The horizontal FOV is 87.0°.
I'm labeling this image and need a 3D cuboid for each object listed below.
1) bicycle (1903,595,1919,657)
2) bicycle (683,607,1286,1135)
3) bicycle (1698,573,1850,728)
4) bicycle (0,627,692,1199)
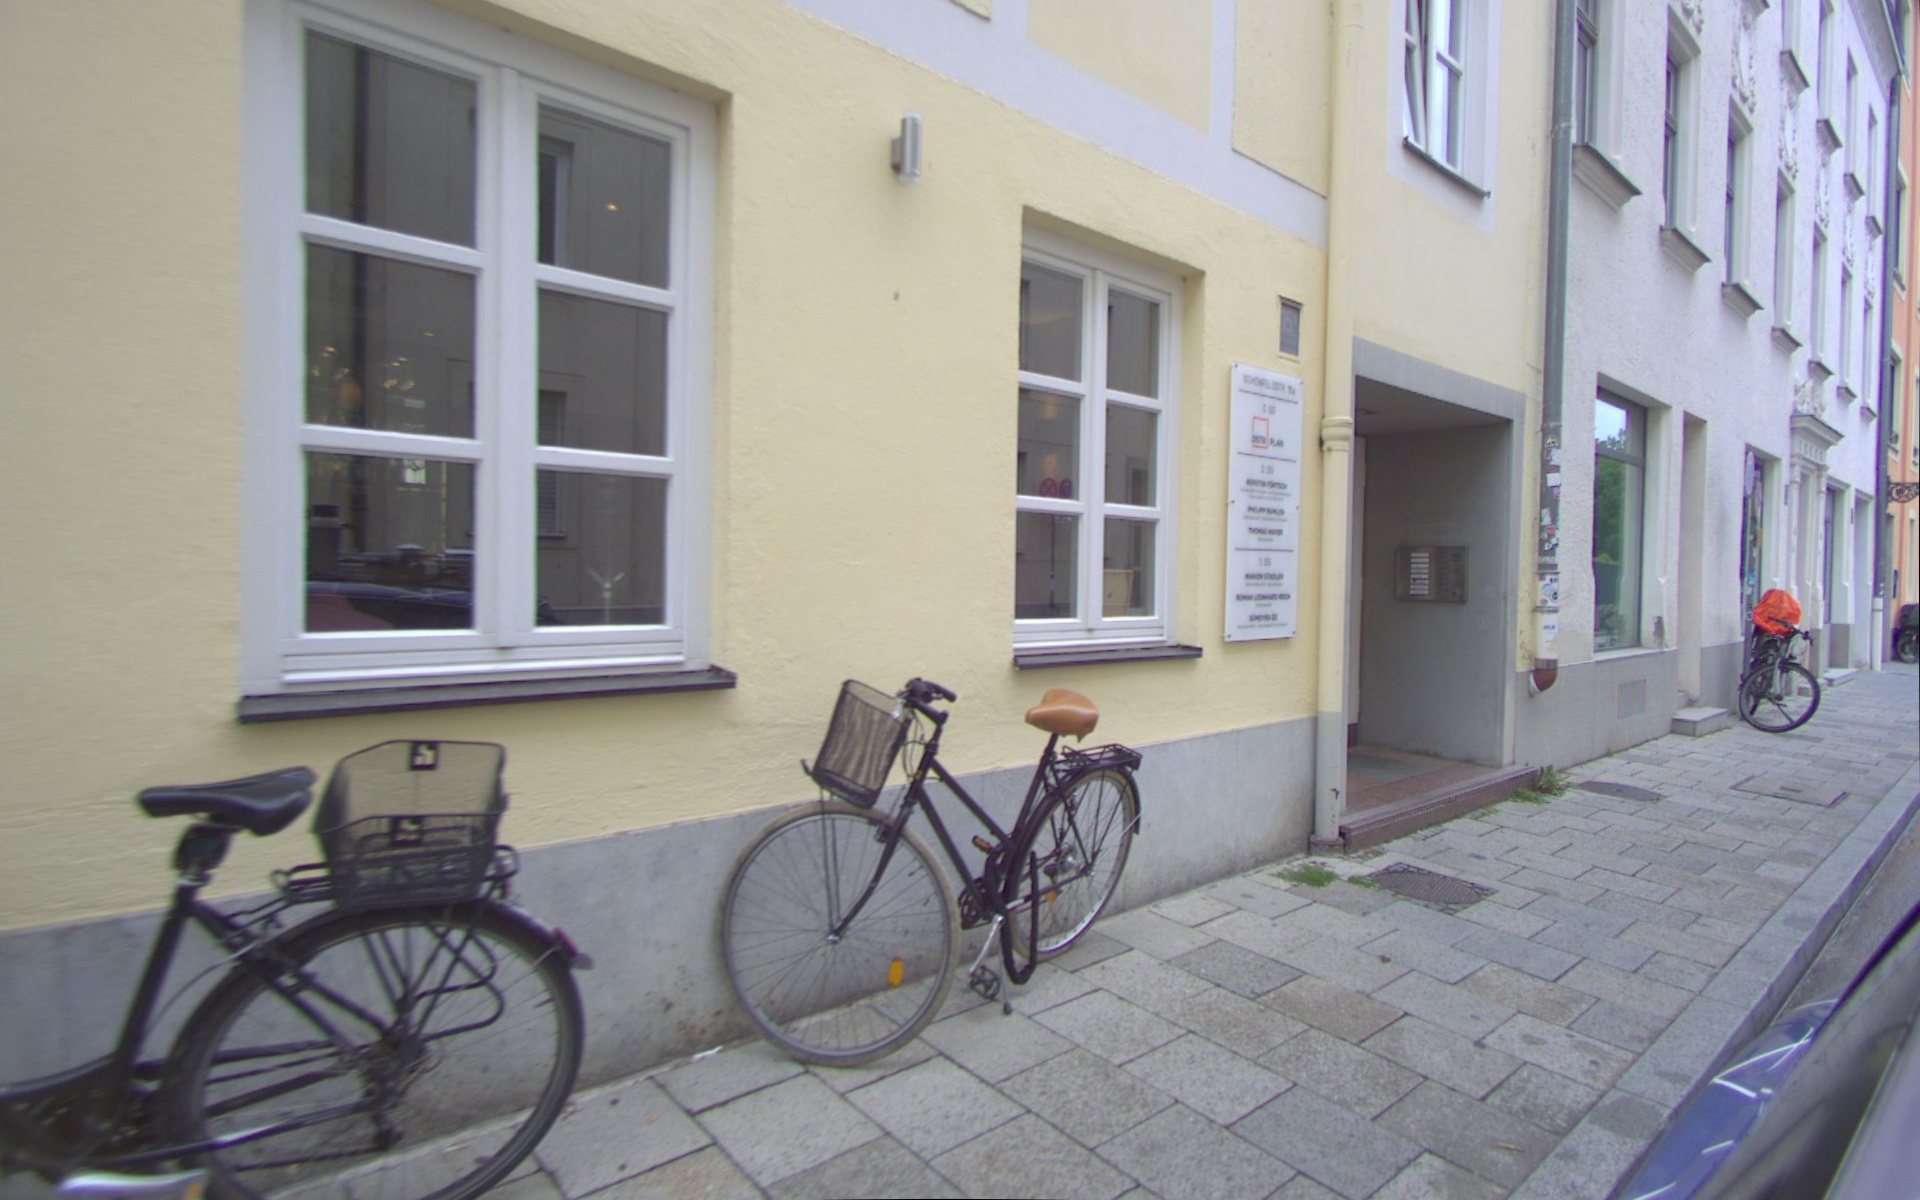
[{"bbox_3d":[20.749,0.568,21.475,2.339,1.254,0.681,1,5,-40],"label":"bicycle"},{"bbox_3d":[0.195,0.624,3.137,1.953,1.150,0.567,0,3,-41],"label":"bicycle"},{"bbox_3d":[8.355,0.463,10.355,2.083,1.413,0.715,0,4,-39],"label":"bicycle"},{"bbox_3d":[-1.323,0.655,1.556,1.654,1.150,0.567,0,3,-41],"label":"bicycle"}]
